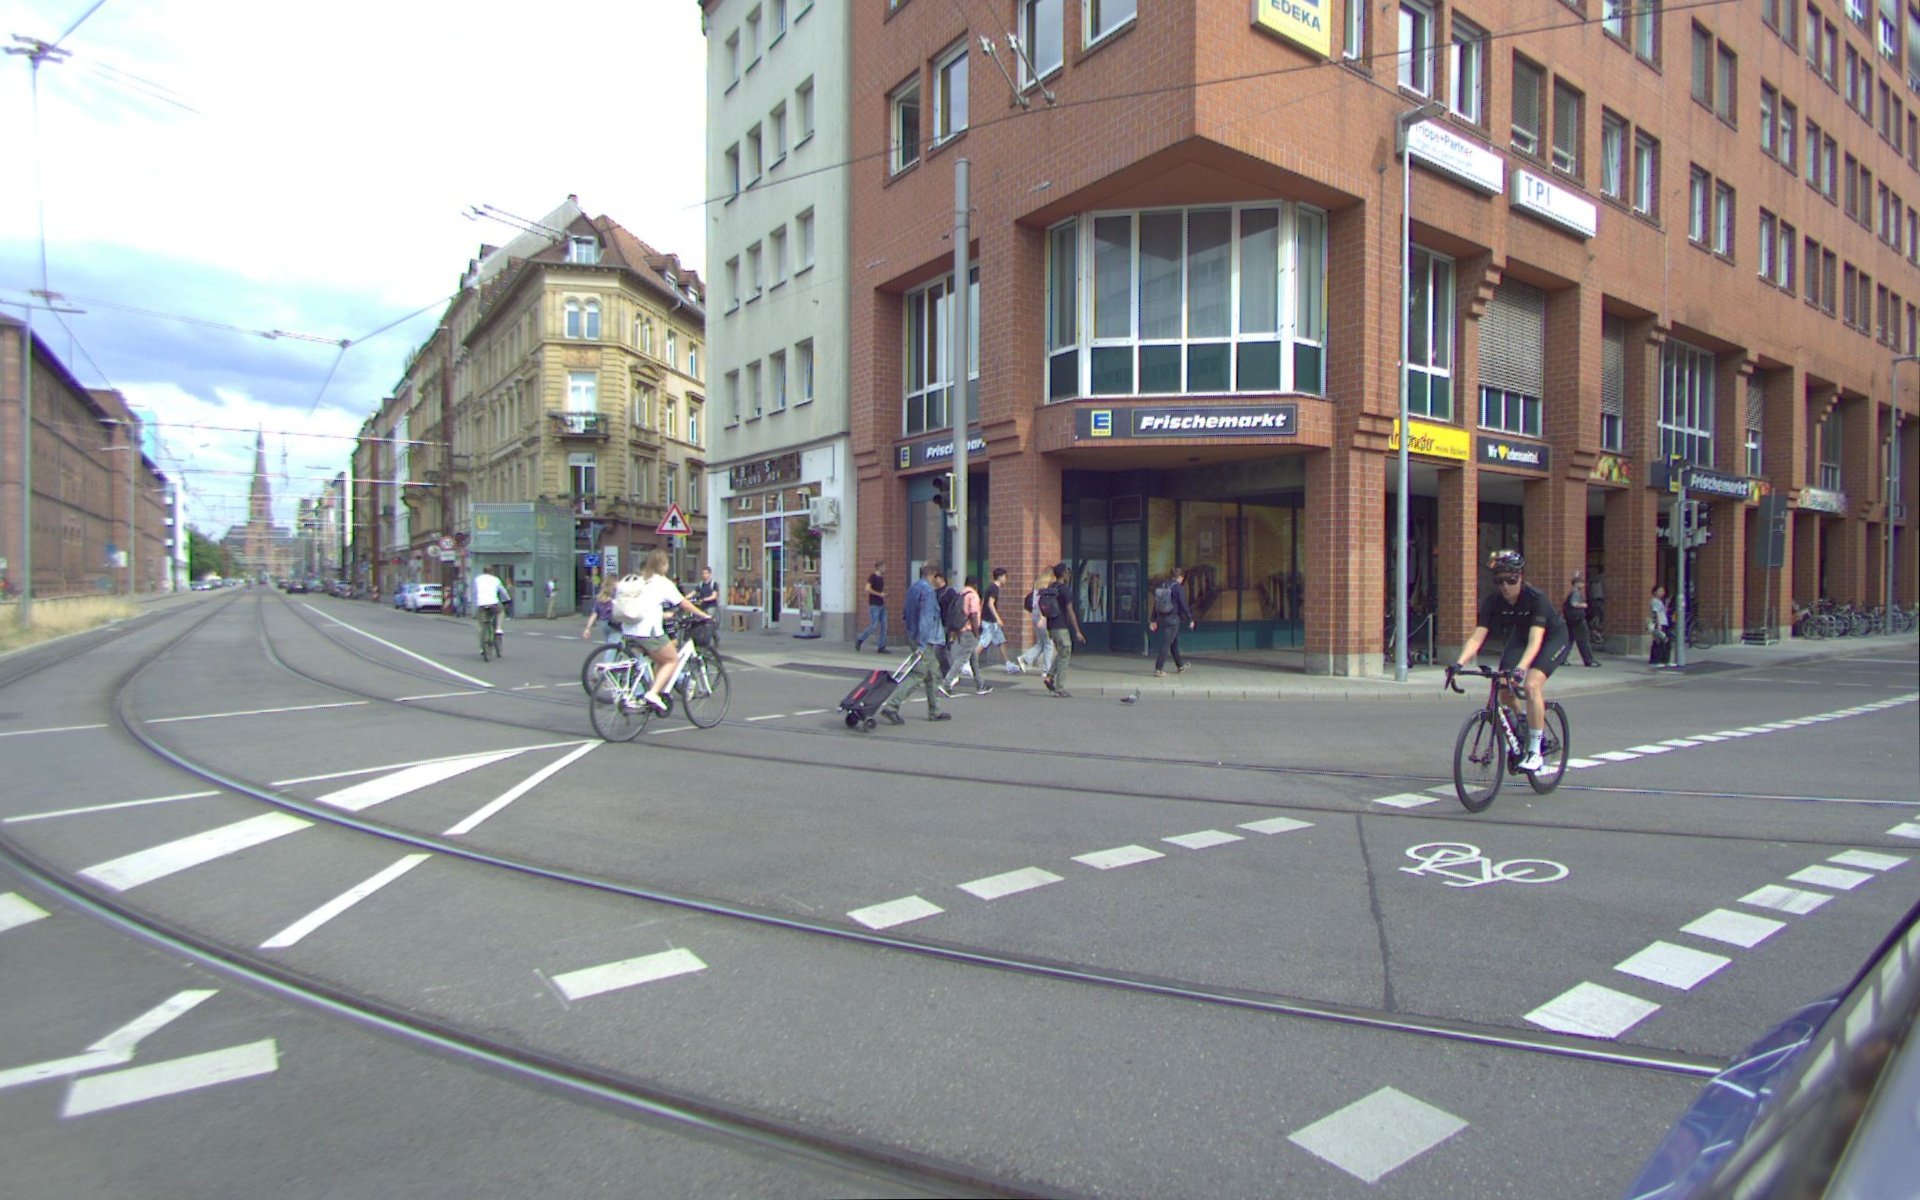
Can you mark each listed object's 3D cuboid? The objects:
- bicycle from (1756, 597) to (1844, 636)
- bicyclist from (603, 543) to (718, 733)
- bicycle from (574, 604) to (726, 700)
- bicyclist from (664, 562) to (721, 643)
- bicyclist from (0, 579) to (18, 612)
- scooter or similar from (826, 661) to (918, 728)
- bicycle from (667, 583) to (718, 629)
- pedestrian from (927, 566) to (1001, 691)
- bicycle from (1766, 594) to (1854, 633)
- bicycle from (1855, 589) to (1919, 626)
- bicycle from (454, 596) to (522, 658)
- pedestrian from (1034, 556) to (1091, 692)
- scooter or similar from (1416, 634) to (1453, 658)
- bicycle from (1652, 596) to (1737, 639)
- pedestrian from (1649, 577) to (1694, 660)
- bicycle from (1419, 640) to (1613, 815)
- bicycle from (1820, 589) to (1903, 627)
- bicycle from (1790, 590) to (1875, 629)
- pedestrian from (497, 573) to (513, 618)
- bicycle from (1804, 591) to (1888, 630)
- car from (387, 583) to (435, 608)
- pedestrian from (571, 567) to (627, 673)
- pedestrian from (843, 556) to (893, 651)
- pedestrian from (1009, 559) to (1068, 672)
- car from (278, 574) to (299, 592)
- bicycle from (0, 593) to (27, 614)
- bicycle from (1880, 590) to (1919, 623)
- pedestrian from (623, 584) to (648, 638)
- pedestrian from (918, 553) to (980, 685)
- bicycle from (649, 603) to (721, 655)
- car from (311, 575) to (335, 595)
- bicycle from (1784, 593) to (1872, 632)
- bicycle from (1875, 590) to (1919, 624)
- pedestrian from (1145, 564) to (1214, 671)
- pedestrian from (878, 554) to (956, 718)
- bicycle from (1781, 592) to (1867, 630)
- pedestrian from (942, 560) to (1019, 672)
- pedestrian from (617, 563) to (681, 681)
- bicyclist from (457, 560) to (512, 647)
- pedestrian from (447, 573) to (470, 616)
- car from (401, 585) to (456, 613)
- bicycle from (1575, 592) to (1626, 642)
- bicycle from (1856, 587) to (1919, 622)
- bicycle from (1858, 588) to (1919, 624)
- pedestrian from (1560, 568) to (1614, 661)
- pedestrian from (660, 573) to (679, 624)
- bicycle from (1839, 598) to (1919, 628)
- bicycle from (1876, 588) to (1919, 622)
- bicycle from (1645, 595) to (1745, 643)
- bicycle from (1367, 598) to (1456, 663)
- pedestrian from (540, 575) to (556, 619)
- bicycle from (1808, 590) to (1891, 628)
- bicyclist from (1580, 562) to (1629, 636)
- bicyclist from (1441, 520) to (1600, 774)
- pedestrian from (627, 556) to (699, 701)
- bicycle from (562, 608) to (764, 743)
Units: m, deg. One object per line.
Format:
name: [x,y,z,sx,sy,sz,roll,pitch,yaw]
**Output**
bicycle: [23.789,0.454,28.680,0.498,1.053,1.861,0,1,-34]
bicyclist: [-2.873,0.335,9.730,0.640,1.731,0.850,0,0,42]
bicycle: [-3.872,0.623,12.741,1.795,1.124,0.398,-1,1,-35]
bicyclist: [-5.344,0.036,20.286,0.736,1.578,0.941,0,0,16]
bicyclist: [-53.312,-0.269,56.611,0.844,1.844,0.503,0,0,-35]
scooter or similar: [-0.894,0.945,10.338,0.802,0.581,0.507,-1,1,-42]
bicycle: [-7.332,0.146,27.658,0.534,1.219,1.802,0,1,-44]
pedestrian: [0.060,0.379,13.983,0.876,1.672,0.543,0,0,-35]
bicycle: [24.349,0.359,29.033,0.524,1.053,1.861,0,1,-34]
bicycle: [30.754,0.244,33.325,0.524,1.155,1.861,0,1,-34]
bicycle: [-8.896,0.478,19.153,0.384,1.100,1.920,0,1,0]
pedestrian: [1.404,0.313,13.895,0.550,1.820,0.543,0,0,-35]
scooter or similar: [9.007,0.864,19.212,0.875,0.424,0.263,0,0,-37]
bicycle: [19.795,0.476,27.307,1.831,1.097,0.484,1,2,5]
pedestrian: [14.432,0.366,20.534,0.717,1.652,0.408,0,2,-27]
bicycle: [3.882,0.822,7.018,1.715,1.013,0.489,-1,1,-36]
bicycle: [28.328,0.225,31.827,0.524,1.125,1.861,0,1,-34]
bicycle: [26.293,0.266,30.518,0.524,1.125,1.861,0,1,-34]
pedestrian: [-17.424,-0.163,38.751,0.505,1.706,0.424,0,0,-34]
bicycle: [27.103,0.292,30.982,0.524,1.125,1.861,0,1,-34]
car: [-30.169,-0.276,55.537,1.803,1.282,4.153,-1,1,-36]
pedestrian: [-5.310,0.281,14.912,0.582,1.530,0.629,0,0,3]
pedestrian: [-1.808,0.057,19.769,0.692,1.805,0.739,-1,1,-34]
pedestrian: [1.225,0.227,15.858,0.638,1.709,0.649,-2,1,-35]
car: [-77.552,-1.918,116.840,1.922,1.928,3.999,-1,-1,-35]
bicycle: [-53.482,0.210,56.563,1.937,1.180,0.421,0,0,-36]
bicycle: [34.018,0.226,35.989,0.524,1.155,1.861,0,1,-34]
pedestrian: [-10.020,0.331,31.270,0.702,1.647,0.794,0,0,-21]
pedestrian: [-0.163,0.265,14.631,0.682,1.847,0.569,0,0,-36]
bicycle: [-5.458,0.556,20.191,0.535,0.962,1.798,0,1,15]
car: [-67.253,-1.579,106.848,1.962,1.928,3.999,-1,-1,-35]
bicycle: [25.018,0.331,29.194,0.524,1.053,1.861,0,1,-34]
bicycle: [32.784,0.240,34.822,0.524,1.155,1.861,0,1,-34]
pedestrian: [3.436,0.259,15.856,0.904,1.621,0.620,0,0,-35]
pedestrian: [-0.465,0.370,10.948,0.589,1.708,0.641,0,0,-35]
bicycle: [25.418,0.305,29.797,0.524,1.053,1.861,0,1,-34]
pedestrian: [0.330,0.233,16.272,1.036,1.735,0.649,-1,1,-35]
pedestrian: [-4.511,0.307,14.708,0.694,1.668,0.721,0,0,3]
bicyclist: [-9.042,0.057,19.272,0.630,1.623,0.862,0,0,1]
pedestrian: [-20.684,-0.228,41.731,0.593,1.705,0.735,-3,1,-11]
car: [-25.832,-0.097,49.139,1.803,1.282,4.153,-1,1,-36]
bicycle: [16.018,0.405,25.302,1.722,1.096,0.629,-3,6,-44]
bicycle: [31.690,0.132,34.313,0.524,1.155,1.861,0,1,-34]
bicycle: [31.257,0.188,33.779,0.524,1.155,1.861,0,1,-34]
pedestrian: [11.953,0.262,19.288,0.685,1.717,0.647,-1,2,-37]
pedestrian: [-10.018,-0.060,34.903,0.579,1.744,0.521,0,0,-14]
bicycle: [29.840,0.422,32.884,0.524,0.904,1.861,0,1,-34]
bicycle: [33.313,0.182,35.351,0.524,1.155,1.861,0,1,-34]
bicycle: [17.620,0.443,24.294,1.831,1.097,0.629,1,2,5]
bicycle: [8.099,0.544,18.140,1.664,1.105,0.568,2,2,-31]
pedestrian: [-15.987,-0.123,39.241,0.416,1.706,0.515,0,0,-2]
bicycle: [27.603,0.256,31.434,0.524,1.125,1.861,0,1,-34]
bicyclist: [16.250,-0.038,25.519,0.752,1.801,0.621,1,3,5]
bicyclist: [3.855,0.298,6.966,0.831,1.624,0.613,-1,-1,-36]
pedestrian: [-3.613,0.326,12.317,0.712,1.707,0.521,0,0,-34]
bicycle: [-2.829,0.677,9.873,0.389,1.136,2.047,0,1,39]
